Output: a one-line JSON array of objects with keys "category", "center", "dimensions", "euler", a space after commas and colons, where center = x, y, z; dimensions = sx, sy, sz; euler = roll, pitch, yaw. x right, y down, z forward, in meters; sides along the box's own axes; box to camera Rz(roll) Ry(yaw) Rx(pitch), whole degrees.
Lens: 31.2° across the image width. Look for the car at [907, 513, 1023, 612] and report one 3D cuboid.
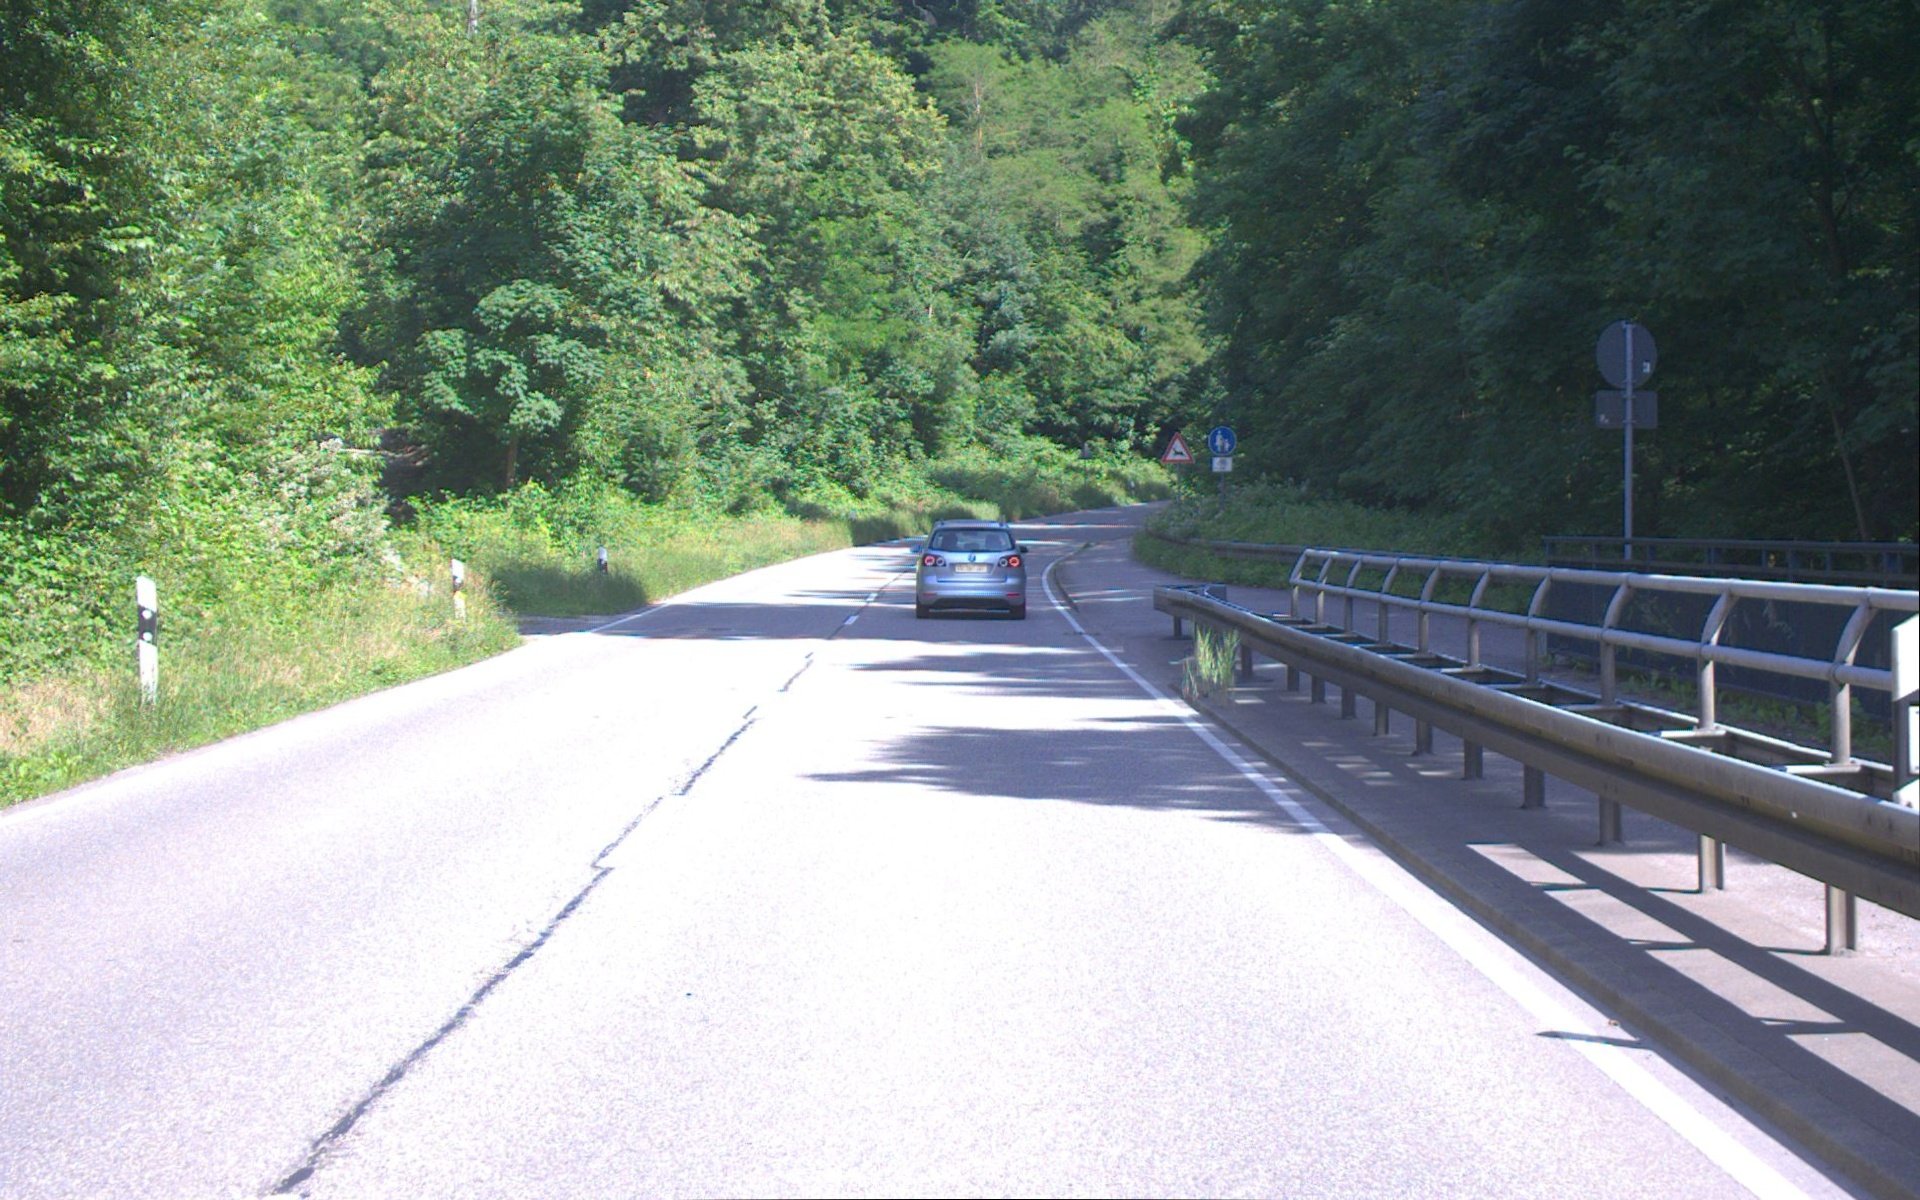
[{"category": "car", "center": [0.115, -0.606, 55.286], "dimensions": [1.751, 1.515, 4.159], "euler": [1, 1, 1]}]
